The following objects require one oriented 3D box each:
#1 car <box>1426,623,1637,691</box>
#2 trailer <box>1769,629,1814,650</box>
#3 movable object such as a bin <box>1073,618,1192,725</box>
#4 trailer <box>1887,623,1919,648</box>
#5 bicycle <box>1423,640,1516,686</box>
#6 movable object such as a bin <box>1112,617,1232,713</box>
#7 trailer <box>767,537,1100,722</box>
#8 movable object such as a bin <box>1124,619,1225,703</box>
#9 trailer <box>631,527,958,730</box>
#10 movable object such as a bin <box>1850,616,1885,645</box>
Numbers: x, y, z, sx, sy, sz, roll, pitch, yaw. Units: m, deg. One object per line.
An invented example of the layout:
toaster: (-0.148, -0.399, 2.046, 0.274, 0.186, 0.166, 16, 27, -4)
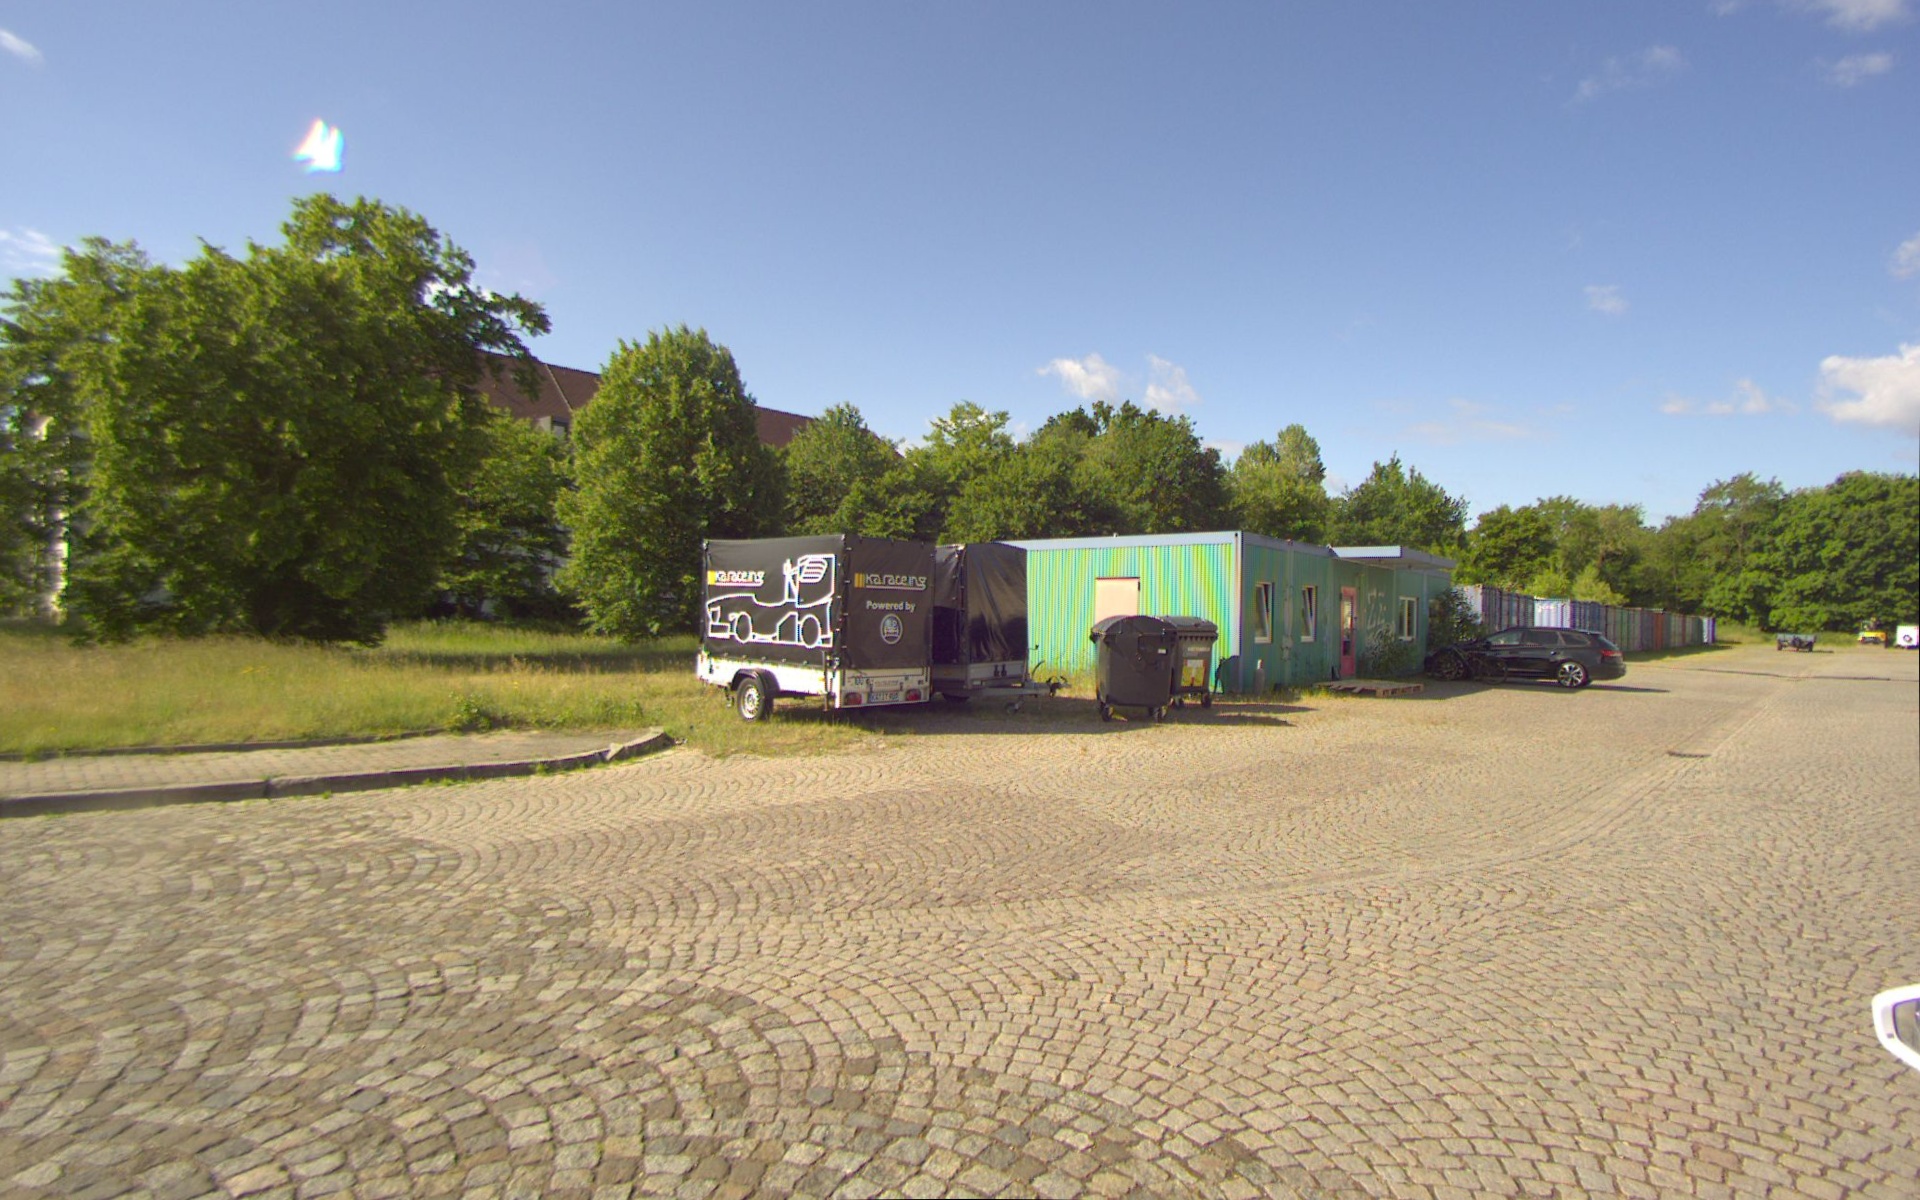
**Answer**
car: (14.342, 1.373, 25.305, 4.361, 1.484, 1.991, 0, -1, 39)
trailer: (68.940, 3.255, 83.282, 2.759, 1.668, 5.592, 0, -2, 41)
movable object such as a bin: (2.396, 0.973, 14.201, 1.359, 1.404, 1.536, 1, -1, -2)
trailer: (86.482, 3.221, 92.130, 1.971, 2.191, 4.408, 0, -1, 42)
bicycle: (12.544, 1.528, 24.737, 1.853, 1.041, 1.033, 0, -1, 40)
movable object such as a bin: (3.414, 1.010, 16.164, 1.282, 1.441, 1.527, 0, -1, 44)
trailer: (-0.528, 0.403, 15.321, 4.899, 2.386, 2.086, 0, -1, 39)
movable object such as a bin: (3.859, 1.056, 17.987, 1.361, 1.404, 1.533, 0, -1, 30)
trailer: (-2.423, 0.359, 13.886, 4.606, 2.328, 2.124, 0, -1, 44)
movable object such as a bin: (85.210, 2.856, 94.365, 2.205, 2.692, 3.981, 0, -1, 40)
